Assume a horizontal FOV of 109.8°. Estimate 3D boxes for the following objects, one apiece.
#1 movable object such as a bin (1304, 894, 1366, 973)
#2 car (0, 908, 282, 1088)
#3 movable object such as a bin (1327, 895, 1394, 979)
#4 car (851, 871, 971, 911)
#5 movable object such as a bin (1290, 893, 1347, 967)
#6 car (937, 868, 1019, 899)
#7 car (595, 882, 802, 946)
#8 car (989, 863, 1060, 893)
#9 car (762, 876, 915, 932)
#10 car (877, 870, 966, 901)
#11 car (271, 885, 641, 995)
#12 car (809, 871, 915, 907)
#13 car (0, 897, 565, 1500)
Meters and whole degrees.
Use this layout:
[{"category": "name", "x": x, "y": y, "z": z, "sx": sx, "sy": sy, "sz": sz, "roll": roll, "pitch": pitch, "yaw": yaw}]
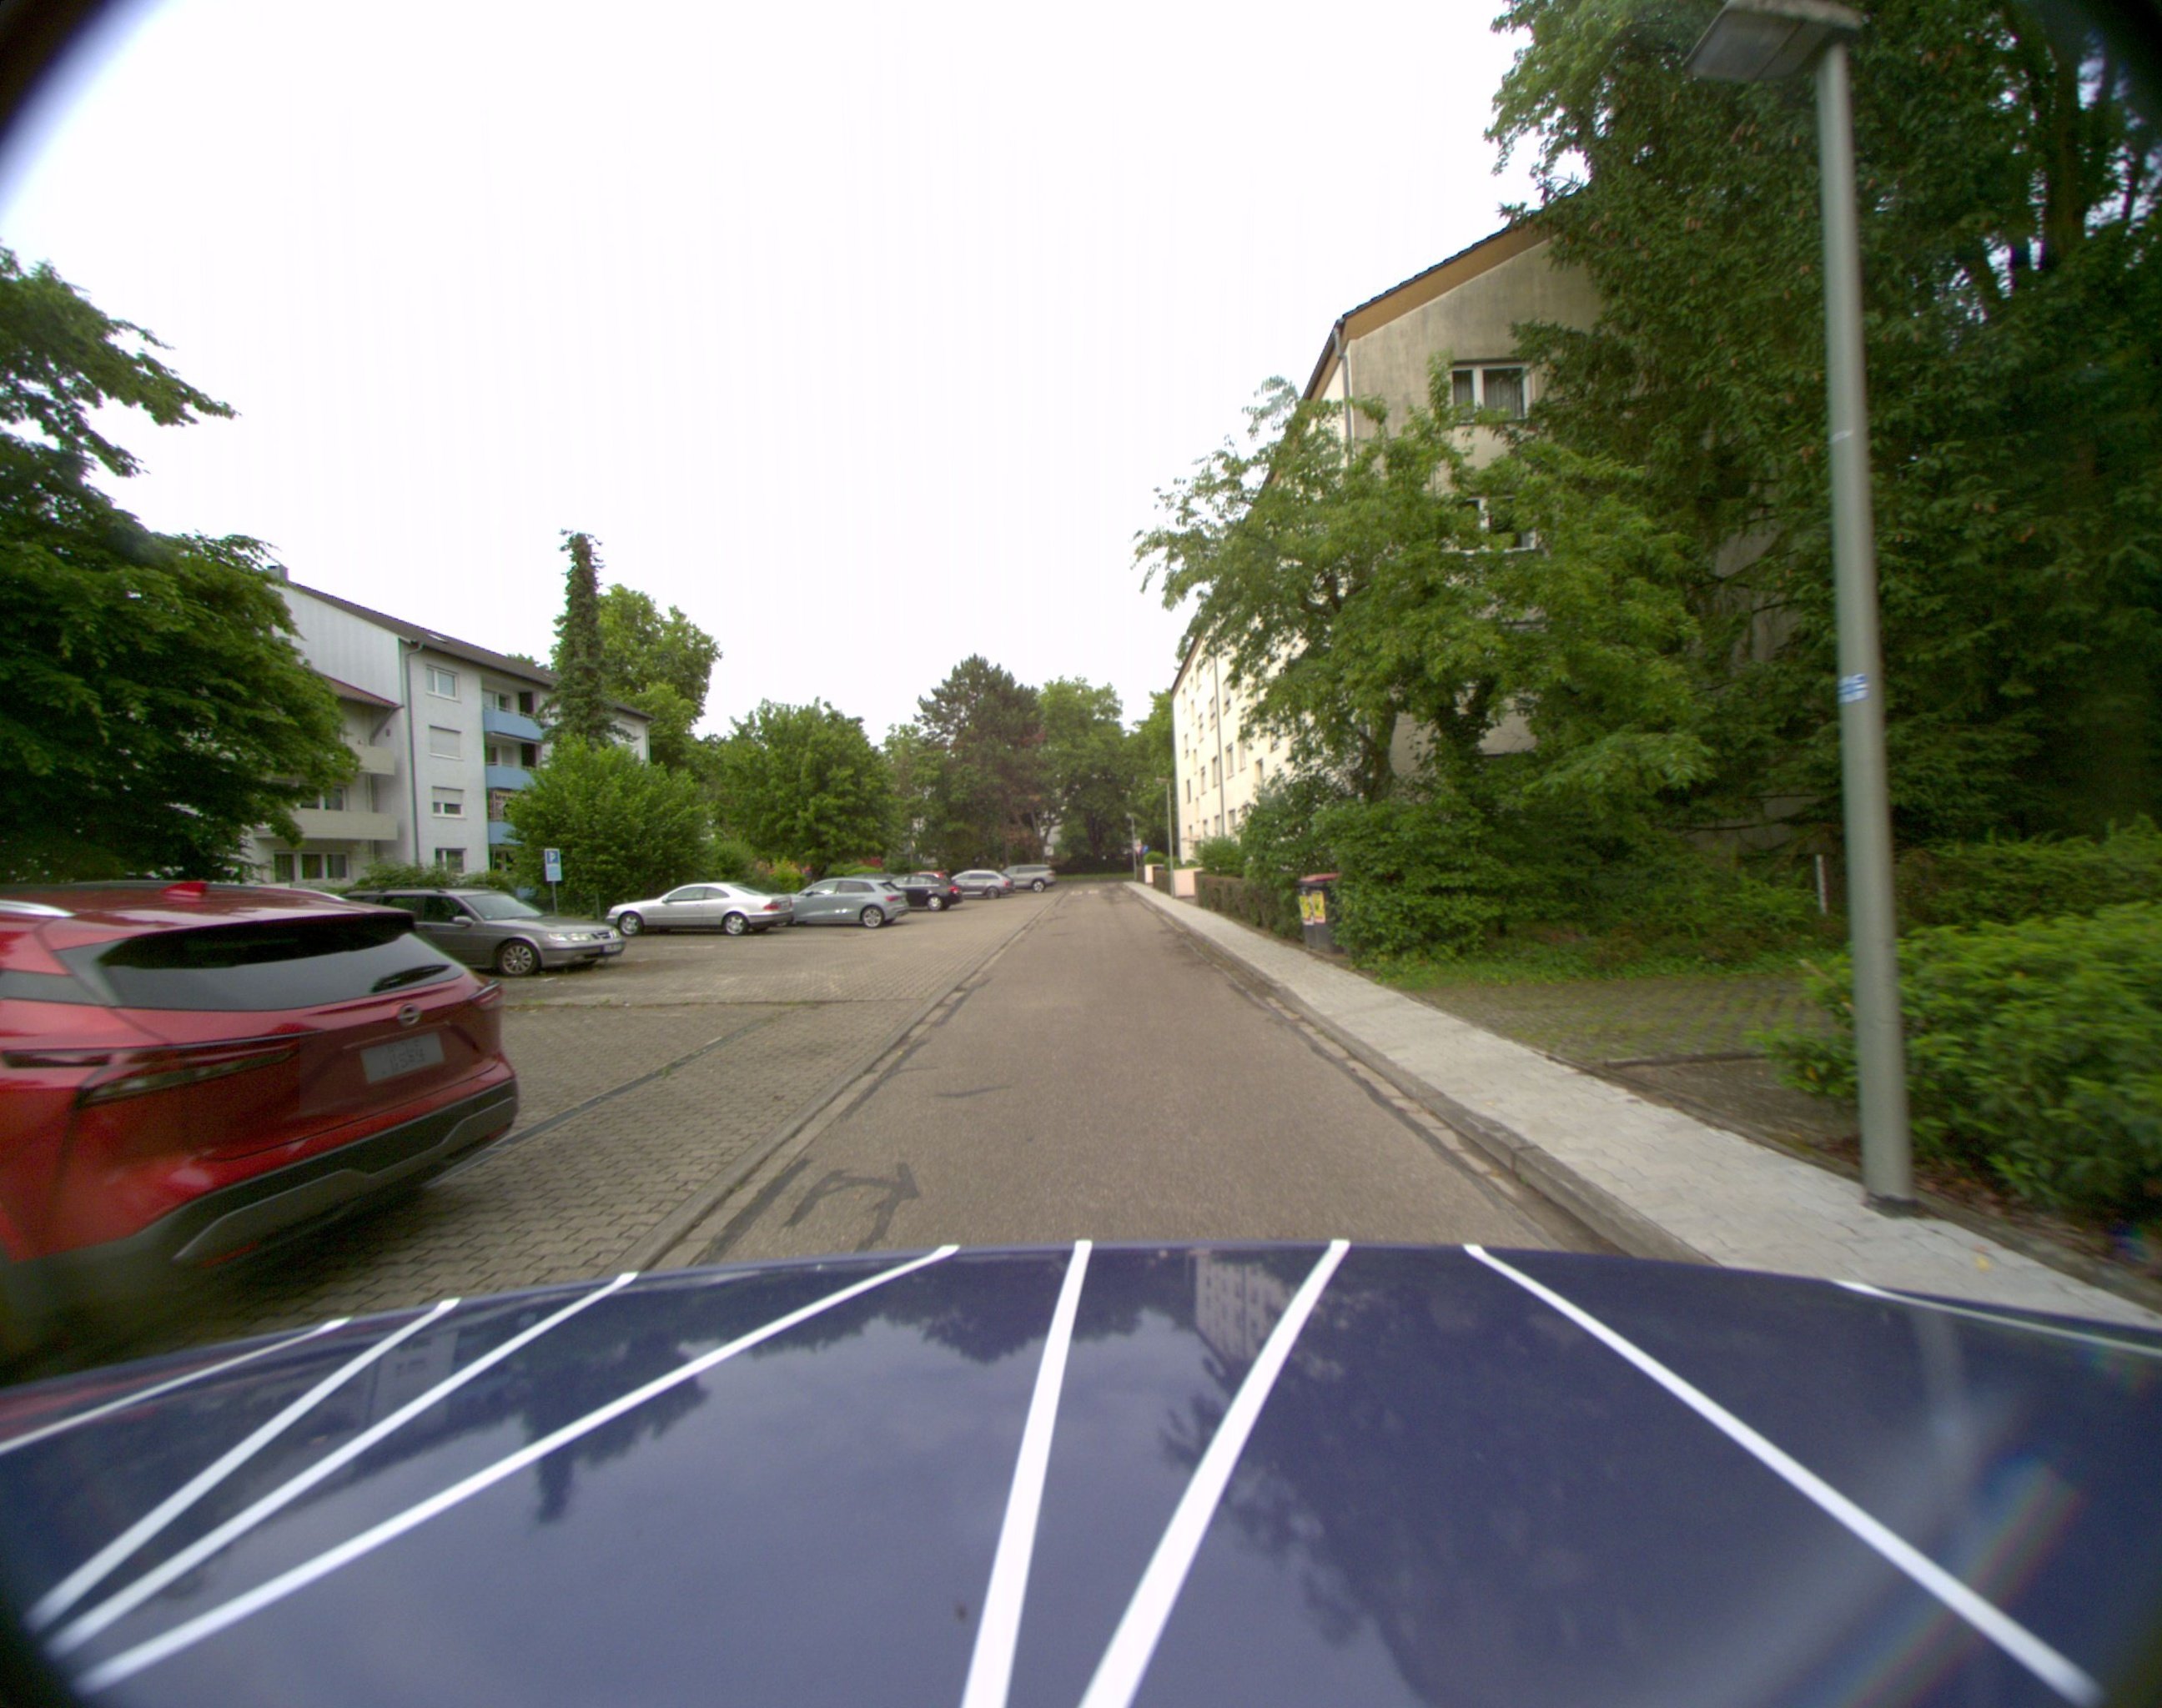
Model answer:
[{"category": "movable object such as a bin", "x": 3.475, "y": 1.071, "z": 10.415, "sx": 0.597, "sy": 1.016, "sz": 0.536, "roll": 0, "pitch": 0, "yaw": -19}, {"category": "car", "x": -10.690, "y": 1.364, "z": 7.501, "sx": 3.835, "sy": 1.439, "sz": 1.713, "roll": -2, "pitch": 0, "yaw": 2}, {"category": "movable object such as a bin", "x": 3.592, "y": 1.051, "z": 9.787, "sx": 0.597, "sy": 1.016, "sz": 0.536, "roll": 0, "pitch": 0, "yaw": -19}, {"category": "car", "x": -6.716, "y": 1.442, "z": 30.251, "sx": 4.334, "sy": 1.476, "sz": 1.788, "roll": 0, "pitch": 0, "yaw": 1}, {"category": "movable object such as a bin", "x": 3.457, "y": 1.092, "z": 11.075, "sx": 0.597, "sy": 1.016, "sz": 0.536, "roll": 0, "pitch": 0, "yaw": -19}, {"category": "car", "x": -5.460, "y": 1.585, "z": 40.760, "sx": 4.104, "sy": 1.476, "sz": 1.788, "roll": -2, "pitch": 0, "yaw": 0}, {"category": "car", "x": -9.949, "y": 1.542, "z": 20.054, "sx": 4.403, "sy": 1.376, "sz": 2.026, "roll": -2, "pitch": 0, "yaw": -2}, {"category": "car", "x": -3.374, "y": 1.435, "z": 45.789, "sx": 4.104, "sy": 1.636, "sz": 1.788, "roll": -2, "pitch": 0, "yaw": 0}, {"category": "car", "x": -7.121, "y": 1.450, "z": 22.609, "sx": 3.976, "sy": 1.426, "sz": 1.731, "roll": -2, "pitch": 0, "yaw": -2}, {"category": "car", "x": -8.018, "y": 1.561, "z": 38.409, "sx": 4.103, "sy": 1.476, "sz": 1.788, "roll": 0, "pitch": 0, "yaw": 1}, {"category": "car", "x": -10.223, "y": 1.368, "z": 12.706, "sx": 4.586, "sy": 1.521, "sz": 1.867, "roll": -1, "pitch": 0, "yaw": 0}, {"category": "car", "x": -9.556, "y": 1.521, "z": 33.325, "sx": 4.103, "sy": 1.476, "sz": 1.788, "roll": 0, "pitch": 0, "yaw": 1}, {"category": "car", "x": -4.898, "y": 1.020, "z": 3.066, "sx": 4.299, "sy": 1.576, "sz": 1.935, "roll": 0, "pitch": 0, "yaw": 0}]
